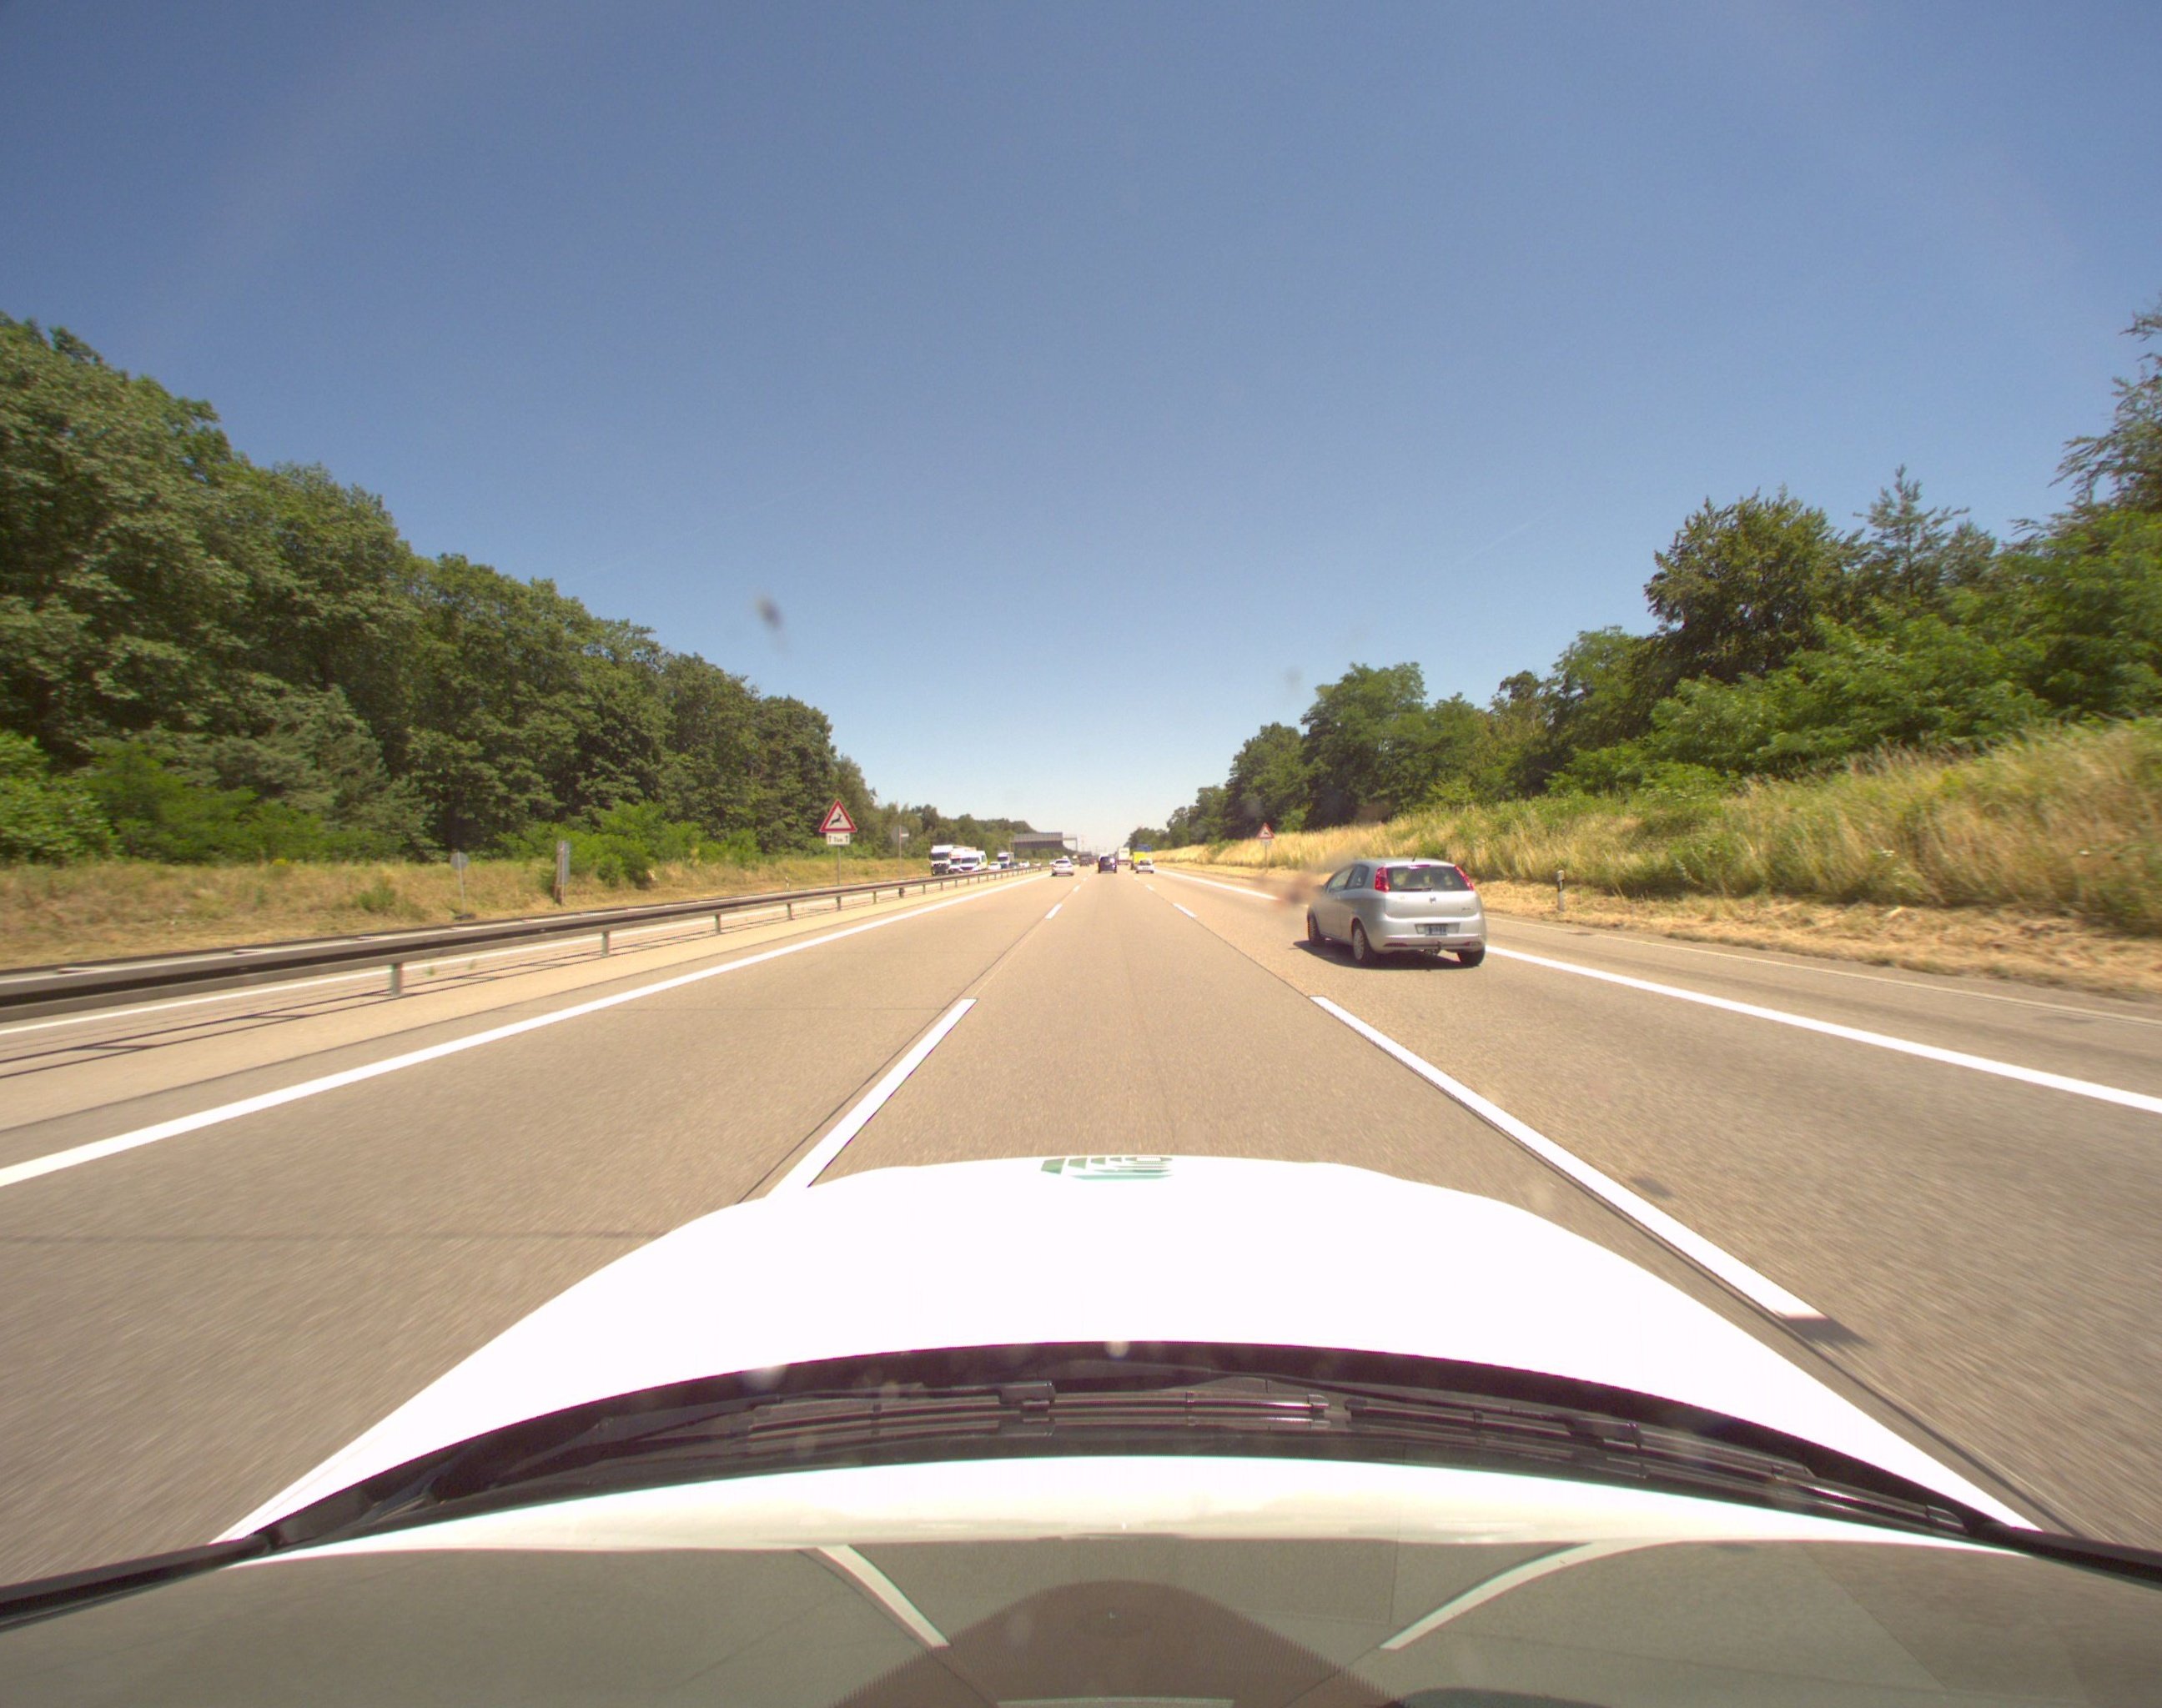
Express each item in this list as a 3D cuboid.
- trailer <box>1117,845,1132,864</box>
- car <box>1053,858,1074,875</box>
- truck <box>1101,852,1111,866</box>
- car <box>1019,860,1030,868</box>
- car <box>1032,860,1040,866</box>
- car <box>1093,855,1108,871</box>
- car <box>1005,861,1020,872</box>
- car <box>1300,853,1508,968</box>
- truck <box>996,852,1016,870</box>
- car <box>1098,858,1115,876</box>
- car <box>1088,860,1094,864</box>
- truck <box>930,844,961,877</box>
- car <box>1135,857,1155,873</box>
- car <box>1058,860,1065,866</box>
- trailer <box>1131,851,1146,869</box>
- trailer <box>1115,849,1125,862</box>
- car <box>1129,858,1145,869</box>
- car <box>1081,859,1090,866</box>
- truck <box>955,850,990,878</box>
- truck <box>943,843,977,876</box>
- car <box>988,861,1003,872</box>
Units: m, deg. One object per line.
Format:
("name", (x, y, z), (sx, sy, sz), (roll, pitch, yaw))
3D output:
("trailer", (10.227, 0.185, 193.146), (3.274, 4.219, 13.567), (0, -1, 1))
("car", (-1.519, 1.074, 71.681), (1.663, 1.401, 3.713), (-2, 0, 0))
("truck", (5.580, 1.109, 182.408), (2.053, 2.914, 7.004), (-1, -1, 1))
("car", (-11.977, 2.086, 171.836), (1.721, 1.646, 5.089), (-4, 0, 1))
("car", (-11.771, 2.416, 212.175), (1.755, 1.407, 4.353), (-4, 0, 1))
("car", (2.403, 1.110, 100.620), (1.808, 1.827, 5.111), (-1, -1, 1))
("car", (-9.853, 1.799, 116.750), (1.599, 1.399, 4.545), (-4, 0, 1))
("car", (4.673, 0.746, 12.430), (1.738, 1.466, 3.982), (0, -1, 2))
("truck", (-15.641, 1.417, 169.563), (2.722, 3.518, 10.443), (-4, 0, 1))
("car", (2.631, 1.354, 83.340), (1.620, 1.755, 3.806), (-1, -1, 2))
("car", (2.614, 2.071, 206.735), (1.400, 1.131, 3.359), (-1, -1, 2))
("truck", (-17.530, 0.832, 105.708), (2.496, 4.014, 6.127), (-4, -1, 2))
("car", (6.215, 1.034, 79.690), (1.702, 1.495, 4.025), (-1, -1, 2))
("car", (-5.939, 2.777, 250.288), (1.755, 1.459, 5.121), (-4, 0, 1))
("trailer", (7.332, 0.760, 104.024), (1.697, 2.290, 3.839), (-1, -1, 1))
("trailer", (11.748, 0.484, 245.204), (2.673, 3.837, 12.012), (0, -1, 1))
("car", (7.437, 1.232, 108.348), (1.815, 1.456, 4.788), (-1, -1, 1))
("car", (0.801, 1.598, 157.040), (1.601, 1.300, 3.675), (-1, -1, 2))
("truck", (-11.239, 0.984, 85.177), (2.075, 2.623, 8.035), (-4, 0, 2))
("truck", (-14.494, 0.641, 98.265), (2.448, 3.606, 8.122), (-4, -1, 2))
("car", (-13.120, 1.960, 125.253), (1.598, 1.559, 4.470), (-4, 0, 1))
